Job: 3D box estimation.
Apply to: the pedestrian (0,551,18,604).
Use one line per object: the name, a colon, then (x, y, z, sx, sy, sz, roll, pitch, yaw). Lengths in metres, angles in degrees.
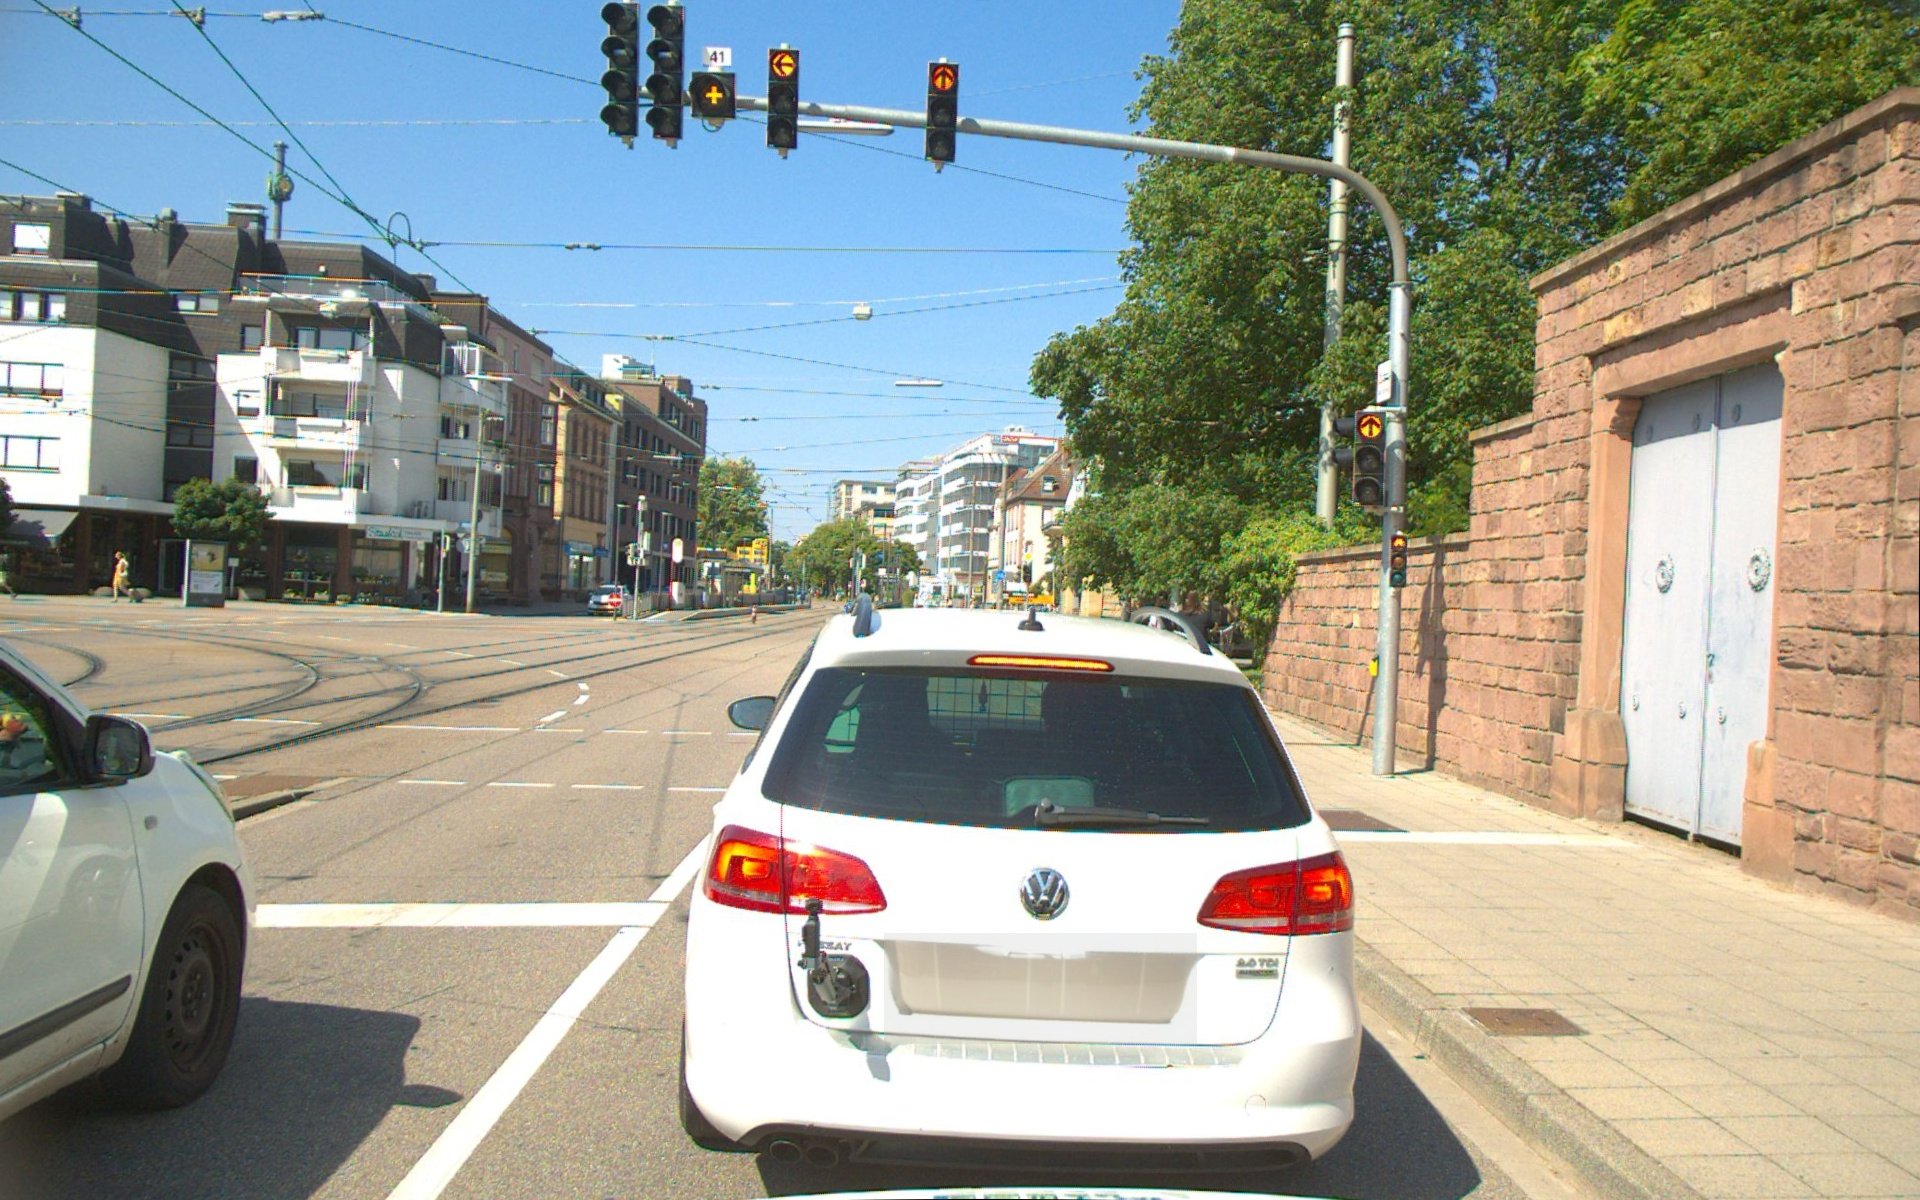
pedestrian: (-32.430, -0.764, 55.930, 0.962, 1.773, 0.855, 1, -1, -31)

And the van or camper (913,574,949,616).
van or camper: (-2.285, -0.341, 129.172, 2.516, 3.147, 5.698, 0, -1, -4)

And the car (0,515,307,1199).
car: (-2.839, 0.611, 3.303, 1.608, 1.593, 3.803, 1, 1, -1)

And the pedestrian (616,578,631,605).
pedestrian: (-22.251, -0.549, 109.307, 0.845, 1.773, 0.973, 1, -1, -6)

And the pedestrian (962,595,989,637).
pedestrian: (0.650, 0.677, 69.580, 0.951, 1.773, 0.865, 0, -1, 13)

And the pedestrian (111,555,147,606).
pedestrian: (-29.648, -0.694, 59.011, 0.966, 1.773, 0.851, 1, -1, -42)

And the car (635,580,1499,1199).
car: (0.190, 0.715, 5.452, 1.771, 1.473, 3.999, 2, 0, -1)

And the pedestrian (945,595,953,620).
pedestrian: (-1.061, 0.702, 157.282, 0.675, 2.366, 1.232, 0, -1, 0)

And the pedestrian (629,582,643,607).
pedestrian: (-22.752, -0.386, 116.187, 0.845, 1.773, 0.973, 1, -1, -6)

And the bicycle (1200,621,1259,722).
bicycle: (3.392, 0.868, 20.861, 0.693, 1.109, 2.028, 1, 2, 9)

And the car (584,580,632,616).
car: (-17.026, -0.077, 80.111, 1.706, 1.646, 3.996, 0, -1, -4)

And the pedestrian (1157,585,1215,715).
pedestrian: (2.865, 0.621, 20.957, 0.659, 1.599, 0.749, 1, 1, 11)

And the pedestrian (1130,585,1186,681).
pedestrian: (3.518, 0.586, 29.426, 0.933, 1.680, 0.975, 0, -1, 4)
